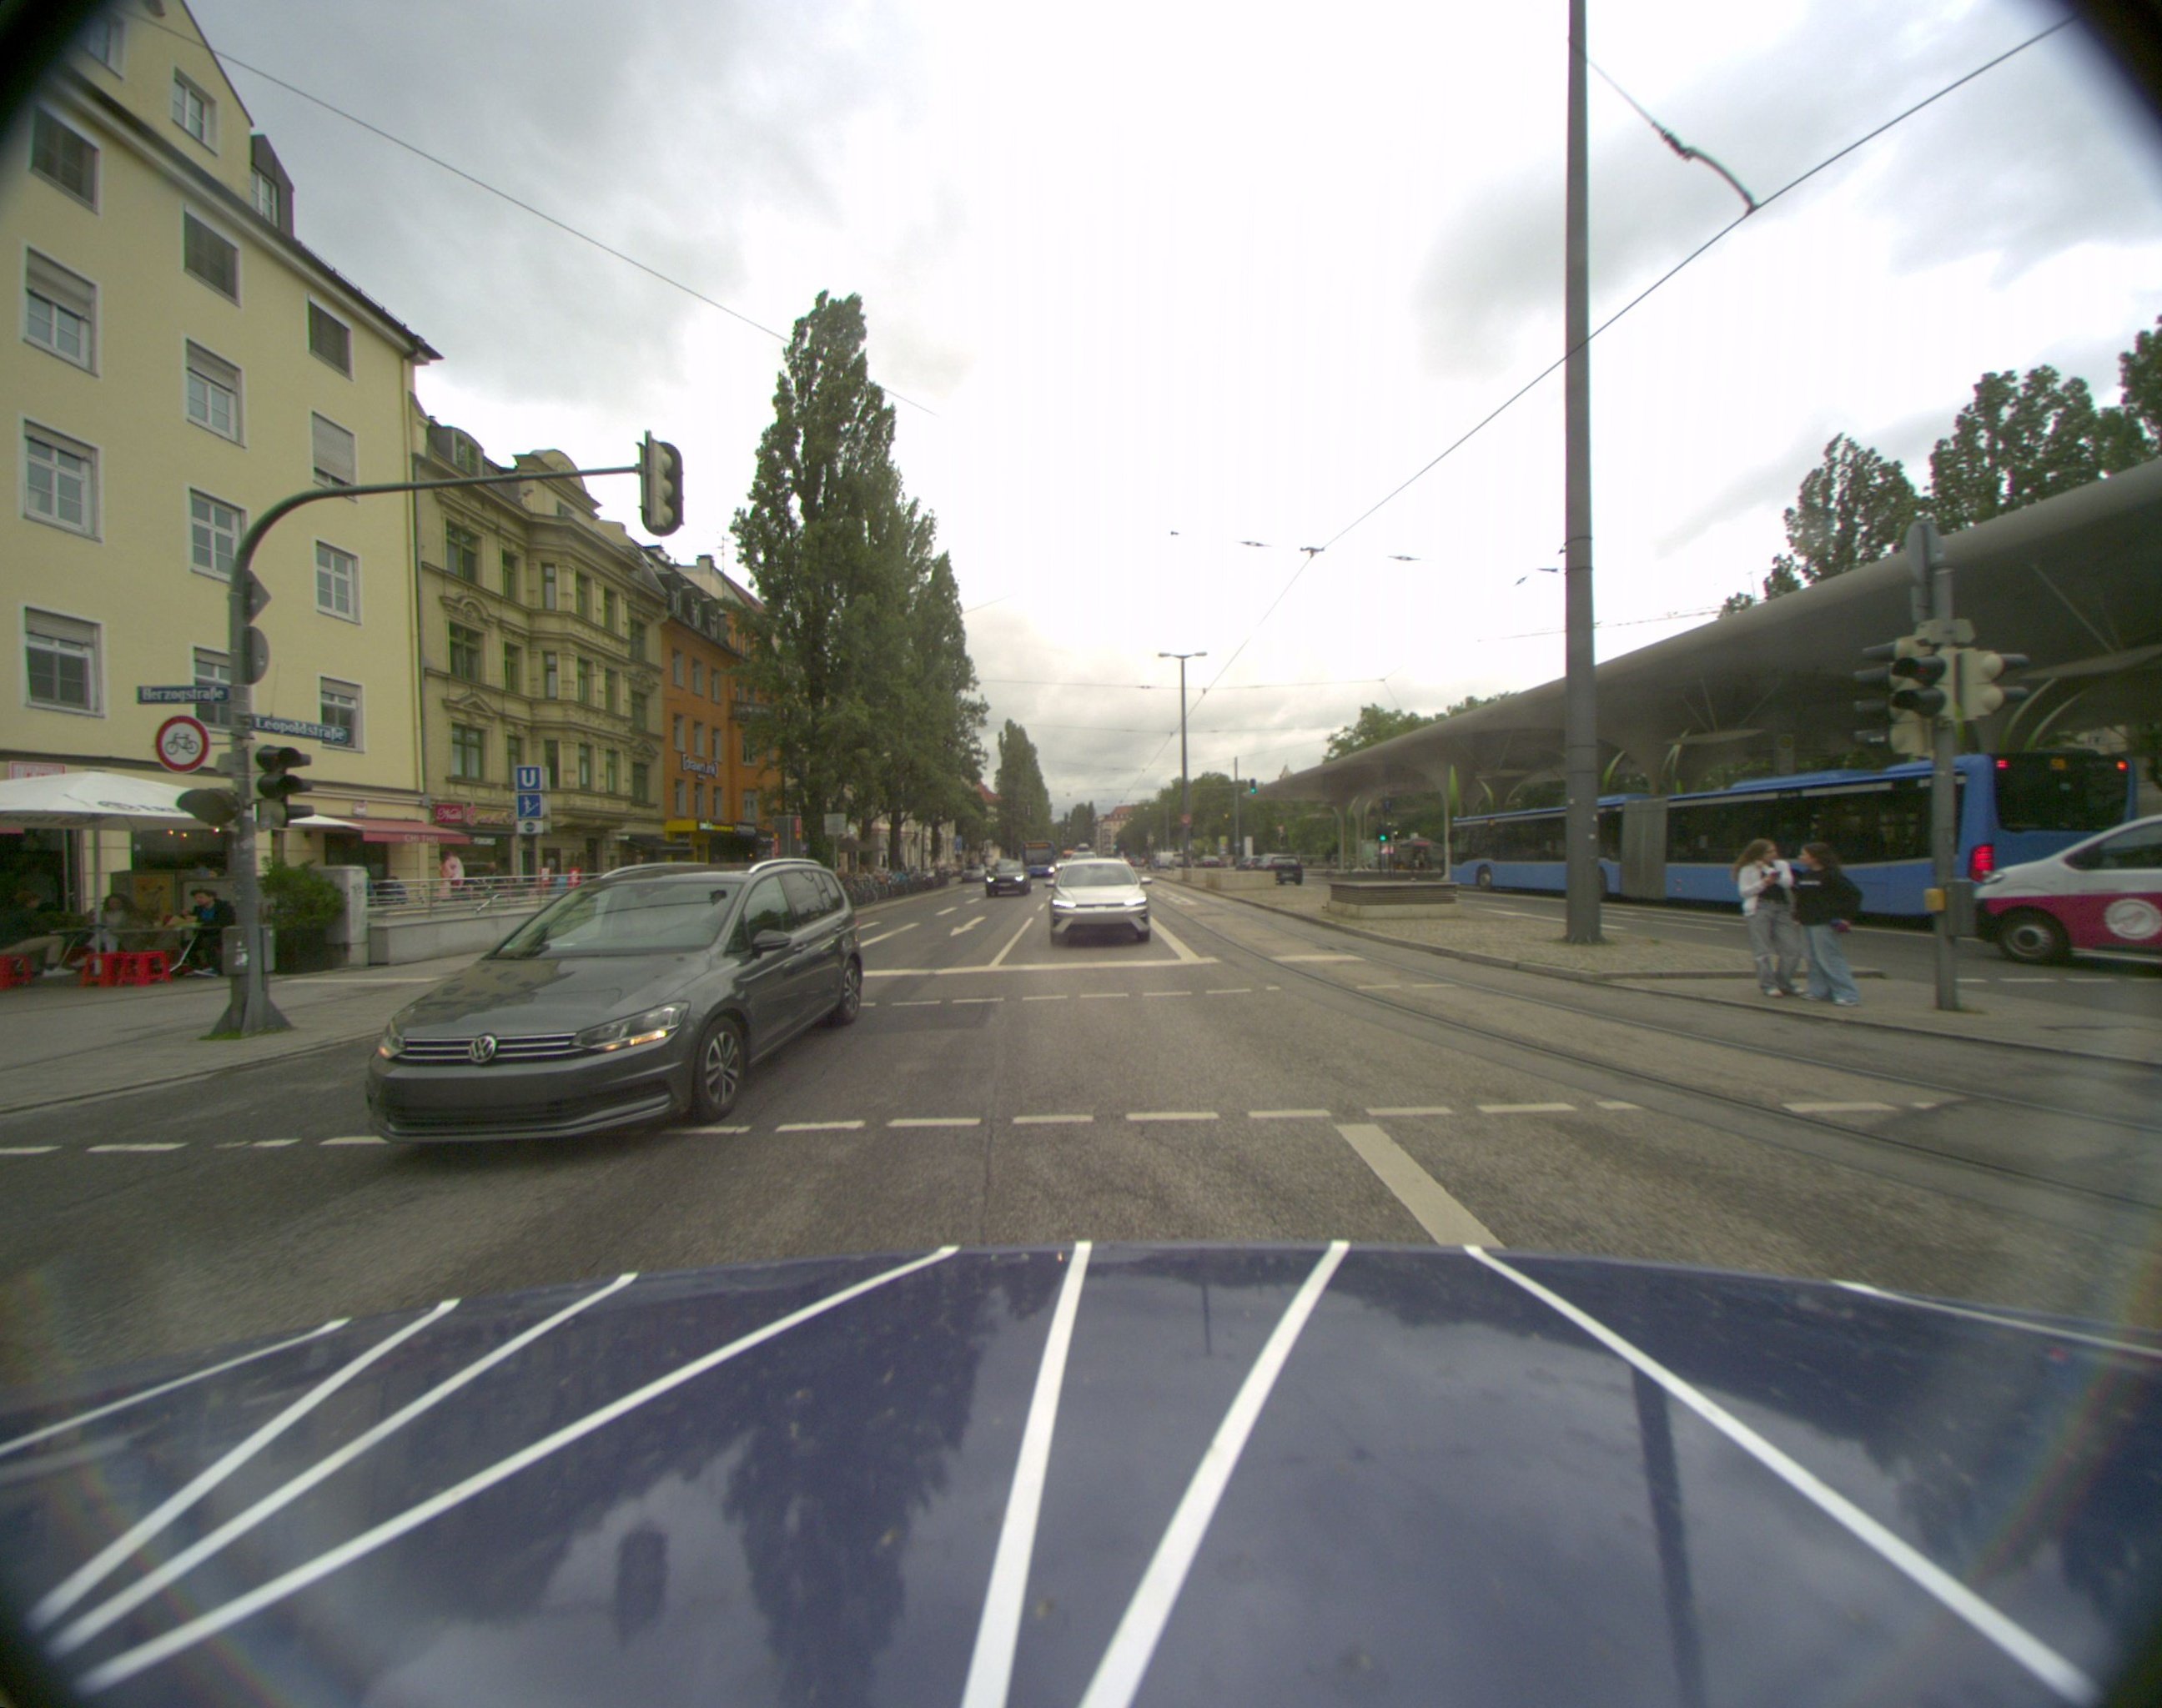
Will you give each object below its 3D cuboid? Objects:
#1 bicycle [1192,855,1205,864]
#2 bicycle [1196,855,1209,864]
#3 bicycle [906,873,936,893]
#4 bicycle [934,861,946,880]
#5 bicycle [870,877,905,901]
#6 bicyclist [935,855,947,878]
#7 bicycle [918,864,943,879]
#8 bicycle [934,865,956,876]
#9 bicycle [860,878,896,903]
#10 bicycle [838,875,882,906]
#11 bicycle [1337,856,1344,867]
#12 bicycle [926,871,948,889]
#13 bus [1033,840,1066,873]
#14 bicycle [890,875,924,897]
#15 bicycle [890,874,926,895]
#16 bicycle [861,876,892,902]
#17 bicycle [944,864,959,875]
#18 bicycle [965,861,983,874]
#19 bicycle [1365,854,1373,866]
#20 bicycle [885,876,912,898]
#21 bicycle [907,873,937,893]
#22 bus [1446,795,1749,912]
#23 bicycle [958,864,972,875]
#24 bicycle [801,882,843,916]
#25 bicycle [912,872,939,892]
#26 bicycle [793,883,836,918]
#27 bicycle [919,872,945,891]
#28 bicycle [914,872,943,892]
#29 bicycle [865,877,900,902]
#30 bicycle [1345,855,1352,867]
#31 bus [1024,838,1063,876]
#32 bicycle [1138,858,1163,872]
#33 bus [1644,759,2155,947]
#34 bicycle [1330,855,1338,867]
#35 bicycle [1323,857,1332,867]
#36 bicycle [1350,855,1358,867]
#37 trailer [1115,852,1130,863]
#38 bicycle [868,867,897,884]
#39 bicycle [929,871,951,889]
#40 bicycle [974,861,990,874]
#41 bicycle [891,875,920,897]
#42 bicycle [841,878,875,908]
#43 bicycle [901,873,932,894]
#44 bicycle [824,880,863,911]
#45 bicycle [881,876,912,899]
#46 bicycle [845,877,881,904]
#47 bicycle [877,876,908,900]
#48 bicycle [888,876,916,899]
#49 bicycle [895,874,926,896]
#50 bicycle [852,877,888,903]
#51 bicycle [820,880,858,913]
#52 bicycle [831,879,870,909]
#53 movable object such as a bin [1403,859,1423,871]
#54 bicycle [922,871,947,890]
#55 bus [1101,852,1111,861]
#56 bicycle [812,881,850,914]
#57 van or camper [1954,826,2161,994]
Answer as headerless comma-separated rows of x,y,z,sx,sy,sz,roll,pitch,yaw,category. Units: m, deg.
16.162,0.779,104.609,1.693,1.165,0.561,-1,0,-9,bicycle
16.512,0.760,103.443,1.693,1.165,0.561,-1,0,-9,bicycle
-8.065,1.480,38.301,1.837,0.990,0.376,-3,-1,38,bicycle
-10.059,1.177,54.350,0.424,1.280,1.778,-1,0,2,bicycle
-8.152,1.485,32.007,1.837,0.990,0.326,-3,-1,37,bicycle
-10.008,0.891,54.281,0.681,1.594,0.939,-1,1,1,bicyclist
-12.140,1.375,61.311,1.801,1.103,0.447,-4,0,2,bicycle
-12.006,1.469,66.906,1.838,0.911,0.392,-2,1,2,bicycle
-8.182,1.486,30.635,1.837,0.990,0.326,-3,-1,37,bicycle
-8.179,1.332,28.137,1.837,1.106,0.468,-1,0,33,bicycle
24.797,0.702,72.558,0.479,1.090,1.851,-1,0,14,bicycle
-8.047,1.479,42.423,0.376,0.990,1.837,-1,-1,-39,bicycle
-3.036,0.233,74.693,2.637,2.956,8.534,-3,0,1,bus
-8.155,1.484,35.491,1.837,0.990,0.326,-3,-1,33,bicycle
-8.425,1.495,36.941,1.838,0.990,0.376,-2,-1,25,bicycle
-8.127,1.398,30.160,0.326,0.990,1.837,-1,-1,-45,bicycle
-12.973,1.576,76.214,0.391,1.017,1.842,-1,1,27,bicycle
-9.121,1.172,64.886,1.740,1.096,0.360,-1,1,35,bicycle
27.283,0.564,71.960,0.479,1.090,1.851,-1,0,14,bicycle
-8.326,1.494,34.549,0.326,0.990,1.837,-1,-1,-42,bicycle
-8.169,1.486,38.938,1.837,0.990,0.376,-3,-1,38,bicycle
15.969,-0.012,25.020,2.667,2.990,10.514,1,0,-1,bus
-11.619,1.507,76.146,0.445,1.017,1.842,-1,1,27,bicycle
-8.162,1.400,23.925,1.836,0.990,0.349,0,1,40,bicycle
-8.123,1.483,39.676,1.837,0.990,0.376,-3,-1,45,bicycle
-8.165,1.400,23.270,1.836,0.990,0.349,0,1,40,bicycle
-8.046,1.479,40.979,1.837,0.990,0.376,-3,-1,42,bicycle
-8.112,1.482,40.298,1.837,0.990,0.376,-3,-1,39,bicycle
-8.220,1.488,31.405,1.837,0.990,0.326,-3,-1,37,bicycle
25.491,0.663,72.446,0.479,1.090,1.851,-1,0,14,bicycle
-3.145,0.240,65.683,2.637,2.956,9.466,-3,0,1,bus
6.277,0.958,68.426,2.234,1.143,0.505,-3,1,-23,bicycle
15.981,-0.012,16.010,2.667,2.990,7.513,1,0,1,bus
24.165,0.651,72.675,0.479,1.090,1.851,-1,0,11,bicycle
23.624,0.752,72.790,0.479,0.889,1.850,-1,0,8,bicycle
26.009,0.635,72.354,0.479,1.090,1.851,-1,0,14,bicycle
10.074,0.894,186.513,2.616,2.666,15.639,1,0,0,trailer
-13.921,1.502,53.198,1.892,1.107,0.458,-1,1,-2,bicycle
-8.018,1.477,43.187,0.376,0.990,1.837,-1,-1,-39,bicycle
-8.537,1.137,65.440,0.360,1.096,1.740,-1,1,-44,bicycle
-8.062,1.479,34.839,1.837,0.990,0.326,-3,-1,43,bicycle
-8.055,1.395,27.434,0.326,0.990,1.837,-1,1,-45,bicycle
-8.128,1.484,37.554,1.837,0.990,0.376,-3,-1,38,bicycle
-8.135,1.399,25.995,1.836,0.990,0.349,0,1,40,bicycle
-8.102,1.482,33.370,1.837,0.990,0.326,-3,-1,43,bicycle
-8.316,1.409,28.892,1.837,0.990,0.326,-3,-1,41,bicycle
-8.127,1.483,32.718,1.837,0.990,0.326,-3,-1,43,bicycle
-7.988,1.475,33.812,0.326,0.990,1.837,-1,-1,-43,bicycle
-8.094,1.481,36.104,1.837,0.990,0.326,-3,-1,38,bicycle
-8.197,1.402,29.467,1.837,0.990,0.326,-3,-1,41,bicycle
-8.072,1.396,25.305,1.837,0.990,0.349,0,1,44,bicycle
-8.105,1.398,26.660,1.836,0.990,0.349,0,1,40,bicycle
29.466,0.990,67.422,1.336,1.078,0.957,-1,0,1,movable object such as a bin
-8.078,1.480,41.729,0.376,0.990,1.837,-1,-1,-44,bicycle
8.562,0.745,262.252,2.632,2.949,13.414,0,0,-1,bus
-8.105,1.398,24.588,1.837,0.990,0.349,0,1,44,bicycle
12.677,0.606,7.402,1.933,1.815,5.439,0,0,-3,van or camper
